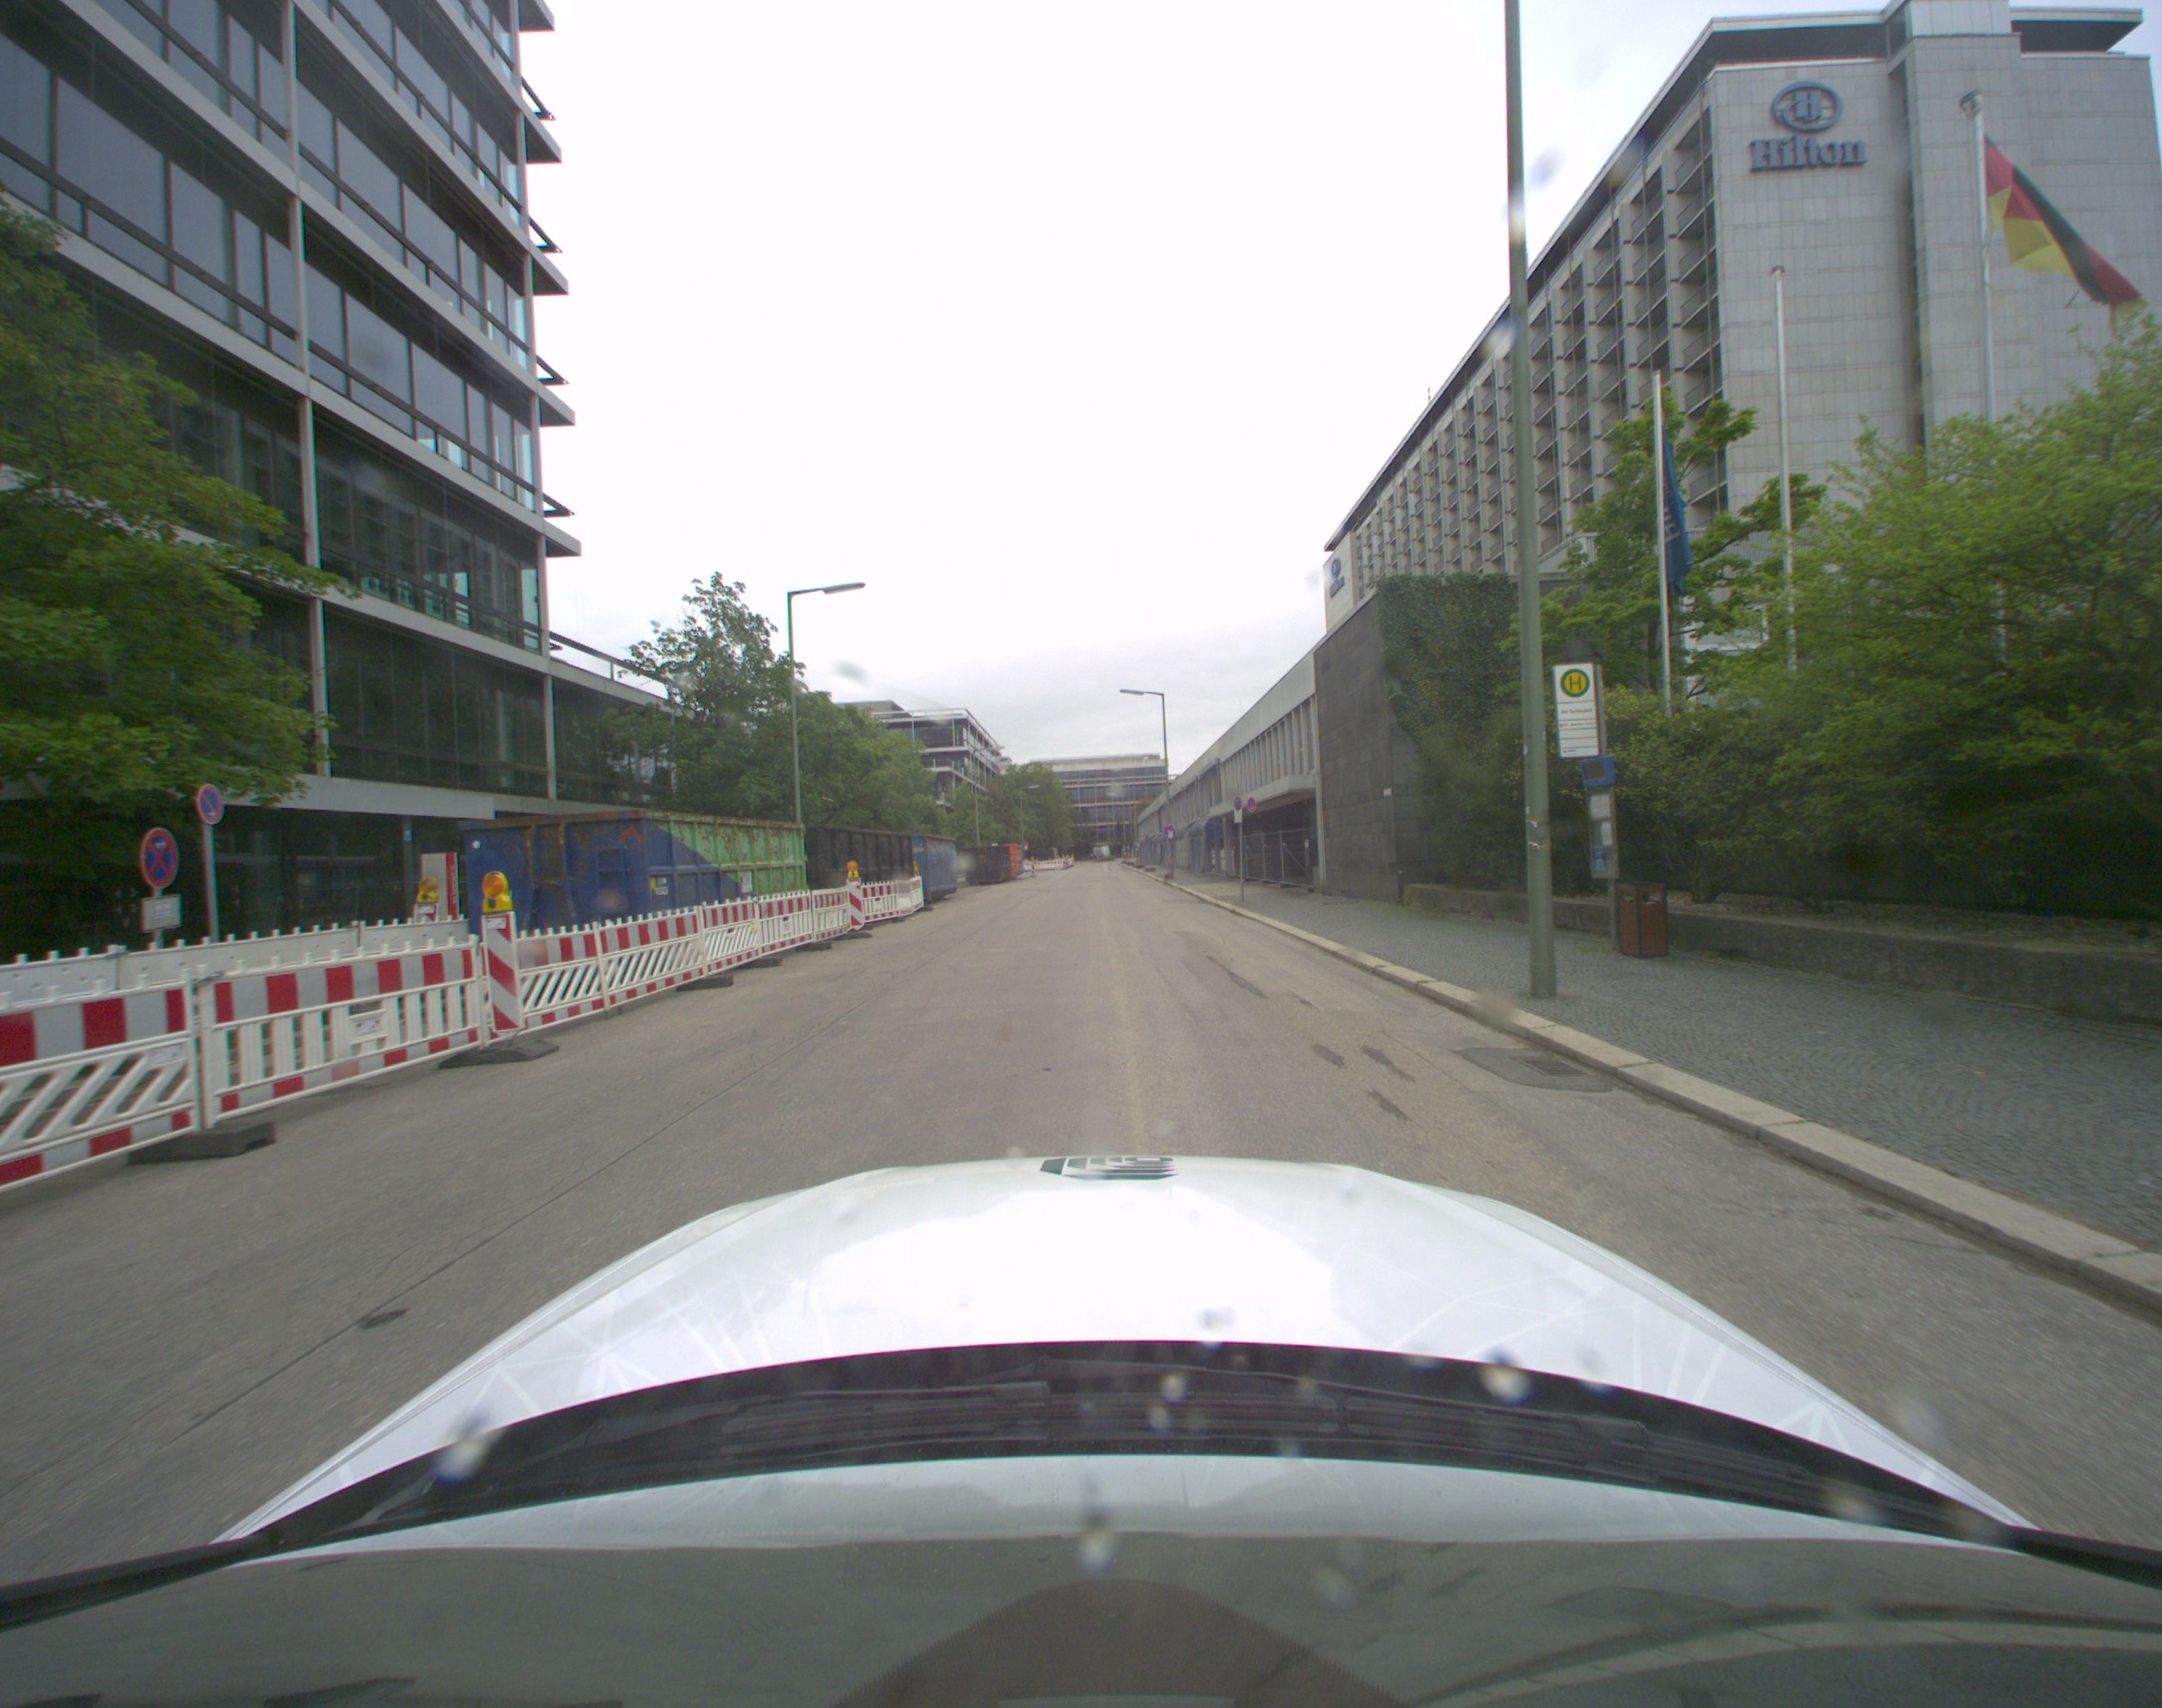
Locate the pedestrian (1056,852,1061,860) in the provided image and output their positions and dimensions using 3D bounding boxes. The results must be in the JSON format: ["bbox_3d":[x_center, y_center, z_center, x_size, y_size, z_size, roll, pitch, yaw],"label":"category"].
[{"bbox_3d":[-4.716,0.427,171.556,0.743,1.677,0.678,-3,0,-18],"label":"pedestrian"}]

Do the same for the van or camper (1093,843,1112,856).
[{"bbox_3d":[4.507,-1.004,172.518,2.095,2.492,5.026,-3,0,-24],"label":"van or camper"}]
